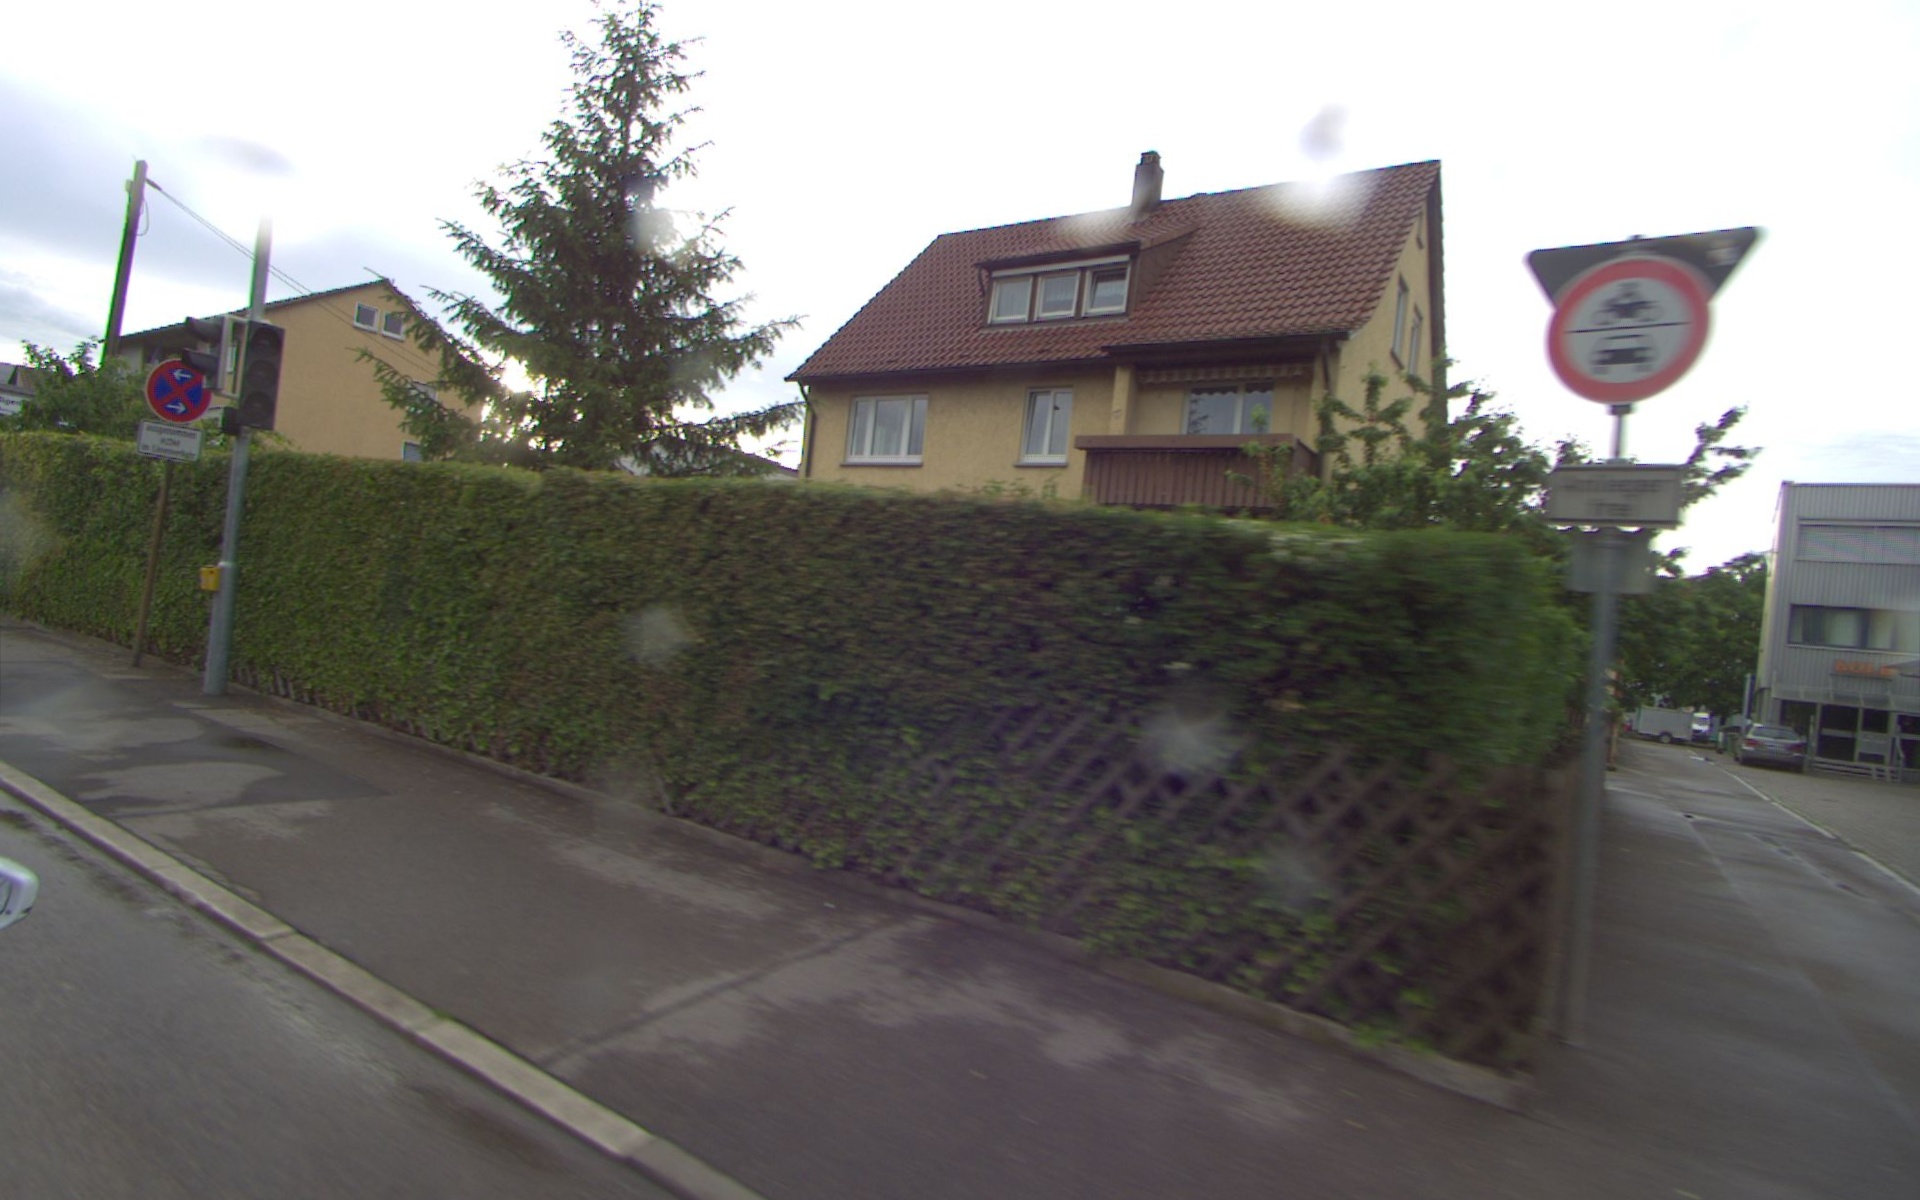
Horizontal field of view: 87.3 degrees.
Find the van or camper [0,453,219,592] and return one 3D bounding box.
[{"bbox_3d":[-21.096,-1.837,23.188,2.099,2.512,5.913,4,-4,34],"label":"van or camper"}]

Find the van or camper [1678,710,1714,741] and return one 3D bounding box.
[{"bbox_3d":[55.445,9.434,75.748,1.970,2.037,3.987,6,-1,38],"label":"van or camper"}]

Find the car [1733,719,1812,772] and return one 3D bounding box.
[{"bbox_3d":[29.842,5.385,37.053,1.970,1.499,3.992,7,-3,37],"label":"car"}]

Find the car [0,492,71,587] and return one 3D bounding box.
[{"bbox_3d":[-19.099,-1.235,19.619,4.499,1.583,1.663,3,-5,37],"label":"car"}]

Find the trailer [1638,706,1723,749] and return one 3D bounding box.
[{"bbox_3d":[43.299,7.631,60.549,3.939,1.960,1.994,6,-1,37],"label":"trailer"}]
